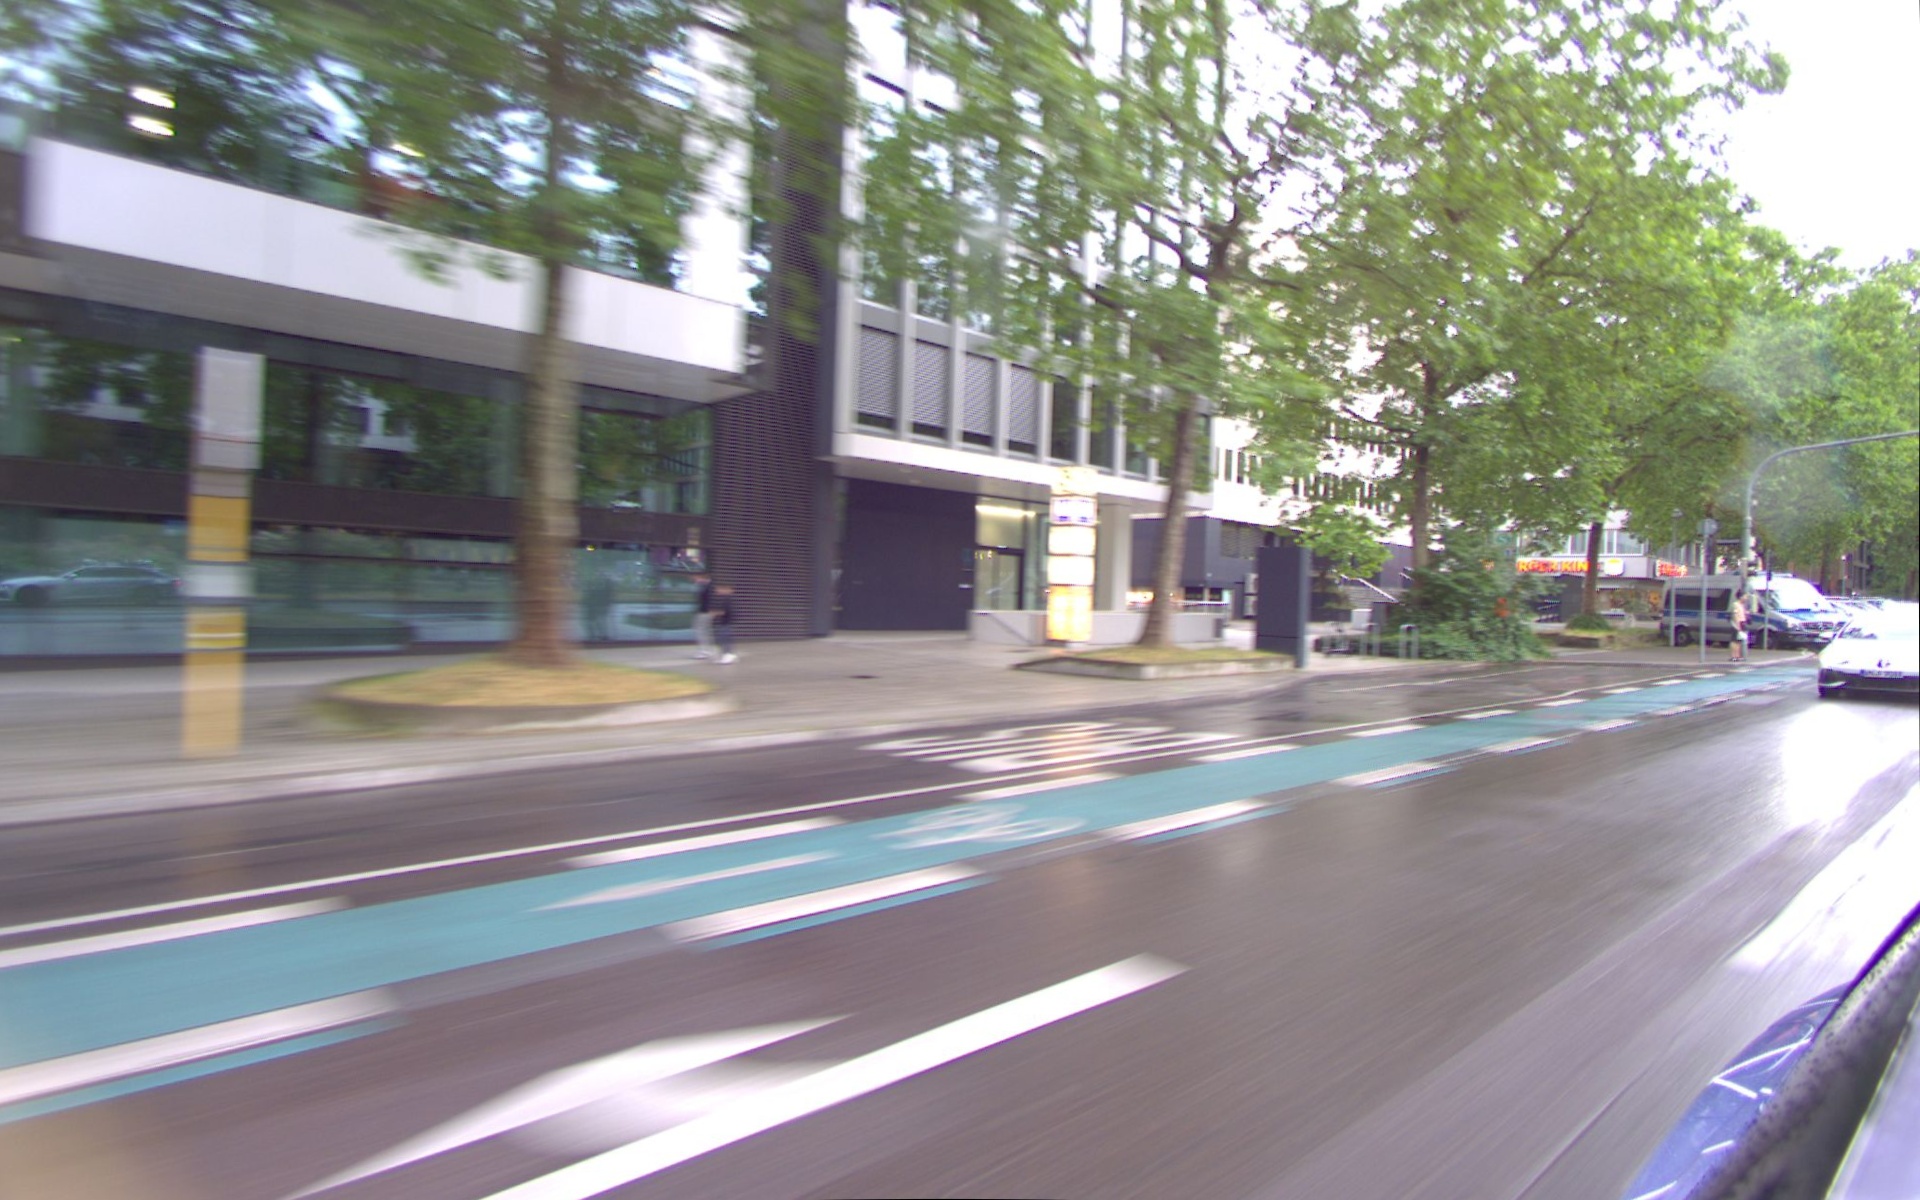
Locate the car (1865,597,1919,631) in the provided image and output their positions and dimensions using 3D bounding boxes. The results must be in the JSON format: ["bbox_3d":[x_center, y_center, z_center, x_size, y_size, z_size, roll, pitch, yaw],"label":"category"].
[{"bbox_3d":[43.316,0.632,46.935,3.365,1.534,1.597,0,0,-41],"label":"car"}]

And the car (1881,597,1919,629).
[{"bbox_3d":[46.290,0.616,49.412,3.365,1.545,1.597,0,0,-41],"label":"car"}]

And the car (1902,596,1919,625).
[{"bbox_3d":[53.042,0.580,55.547,3.365,1.545,1.597,0,0,-41],"label":"car"}]

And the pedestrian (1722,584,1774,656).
[{"bbox_3d":[20.872,0.512,26.812,0.707,1.872,0.893,0,0,-33],"label":"pedestrian"}]

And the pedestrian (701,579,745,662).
[{"bbox_3d":[-4.839,0.398,20.671,0.707,1.645,0.527,-1,3,-41],"label":"pedestrian"}]

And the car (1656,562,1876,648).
[{"bbox_3d":[27.764,0.131,35.290,2.275,2.714,6.291,0,0,-5],"label":"car"}]

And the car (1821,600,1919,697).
[{"bbox_3d":[16.113,0.756,17.111,3.726,1.490,1.794,0,0,-40],"label":"car"}]

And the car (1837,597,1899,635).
[{"bbox_3d":[38.881,0.664,43.309,3.365,1.545,1.597,0,0,-41],"label":"car"}]

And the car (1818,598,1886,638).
[{"bbox_3d":[35.947,0.695,40.764,3.365,1.545,1.597,0,0,-41],"label":"car"}]

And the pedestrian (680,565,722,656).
[{"bbox_3d":[-5.477,0.213,21.425,0.692,1.881,0.523,-1,3,-41],"label":"pedestrian"}]
